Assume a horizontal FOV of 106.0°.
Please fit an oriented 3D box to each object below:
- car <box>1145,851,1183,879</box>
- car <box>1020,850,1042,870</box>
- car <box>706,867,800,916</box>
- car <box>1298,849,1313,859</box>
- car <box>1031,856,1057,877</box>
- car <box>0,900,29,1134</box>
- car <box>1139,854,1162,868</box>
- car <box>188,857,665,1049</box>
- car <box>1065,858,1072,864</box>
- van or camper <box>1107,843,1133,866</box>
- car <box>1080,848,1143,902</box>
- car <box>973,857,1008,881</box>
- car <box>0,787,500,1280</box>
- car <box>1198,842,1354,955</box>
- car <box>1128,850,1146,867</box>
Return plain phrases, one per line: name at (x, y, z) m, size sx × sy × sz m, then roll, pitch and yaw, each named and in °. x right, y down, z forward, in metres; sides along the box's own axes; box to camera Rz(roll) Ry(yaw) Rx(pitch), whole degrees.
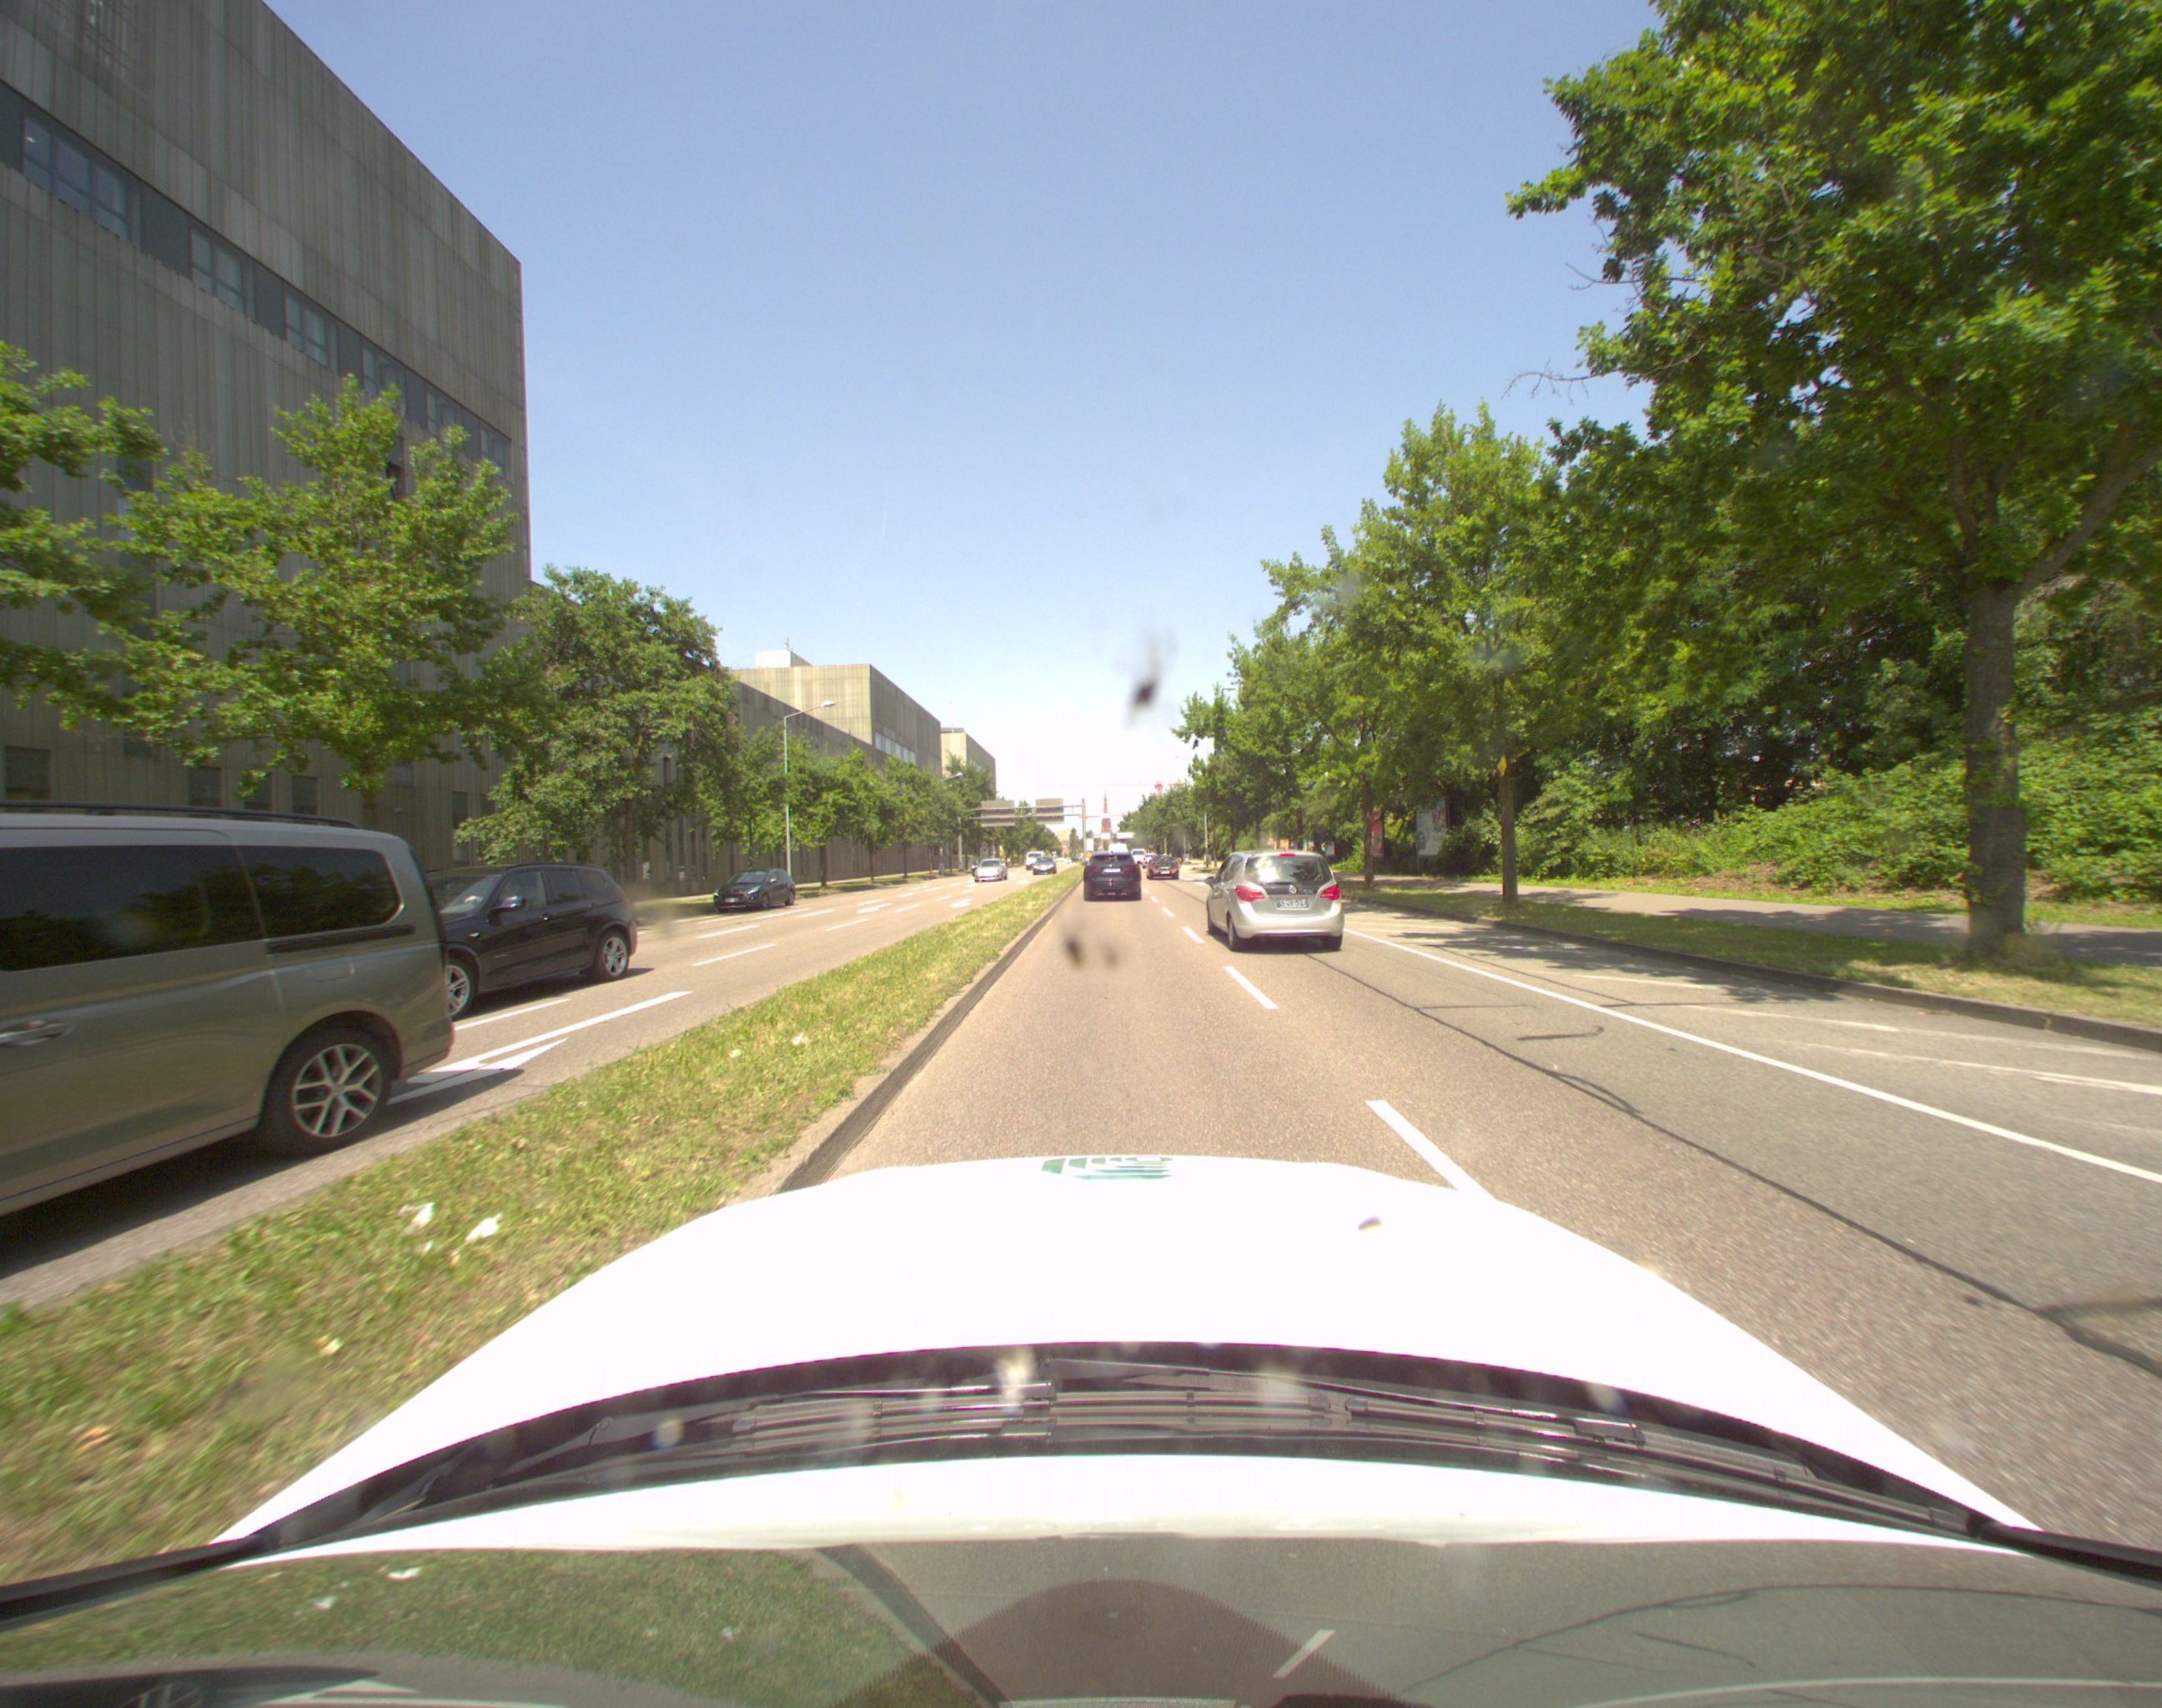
car at (4.791, 0.643, 47.629) m, size 2.005 × 1.517 × 4.465 m, roll -2°, pitch -1°, yaw 4°
car at (-5.457, 0.675, 90.231) m, size 1.902 × 1.993 × 4.899 m, roll -3°, pitch 0°, yaw 1°
car at (-12.780, 1.403, 32.039) m, size 1.805 × 1.543 × 4.369 m, roll -6°, pitch 0°, yaw 0°
car at (28.745, 0.004, 104.432) m, size 1.372 × 1.187 × 3.310 m, roll -2°, pitch 0°, yaw 8°
car at (-2.874, 0.950, 64.475) m, size 1.805 × 1.466 × 4.056 m, roll -3°, pitch 0°, yaw 0°
car at (-7.635, 1.053, 3.050) m, size 1.804 × 1.446 × 4.250 m, roll -3°, pitch 0°, yaw 0°
car at (6.886, 0.693, 81.138) m, size 1.650 × 1.356 × 4.457 m, roll -2°, pitch -1°, yaw -2°
car at (-7.320, 0.940, 9.914) m, size 1.794 × 1.663 × 4.578 m, roll -4°, pitch 0°, yaw 4°
car at (-3.424, 1.982, 227.301) m, size 1.804 × 1.427 × 4.358 m, roll -3°, pitch 0°, yaw 0°
van or camper at (4.171, 0.023, 86.726) m, size 2.481 × 2.291 × 4.928 m, roll -2°, pitch -1°, yaw 5°
car at (1.101, 0.684, 28.132) m, size 1.989 × 1.689 × 4.037 m, roll -1°, pitch 0°, yaw 3°
car at (-5.878, 0.953, 53.410) m, size 1.760 × 1.460 × 4.144 m, roll -3°, pitch 0°, yaw 0°
car at (-4.883, 0.705, 3.036) m, size 1.803 × 1.801 × 4.716 m, roll -3°, pitch 0°, yaw 2°
car at (3.178, 0.665, 14.020) m, size 1.786 × 1.612 × 3.892 m, roll -2°, pitch 0°, yaw 1°
car at (6.686, 0.550, 98.022) m, size 1.985 × 2.013 × 4.003 m, roll -2°, pitch 0°, yaw 2°
